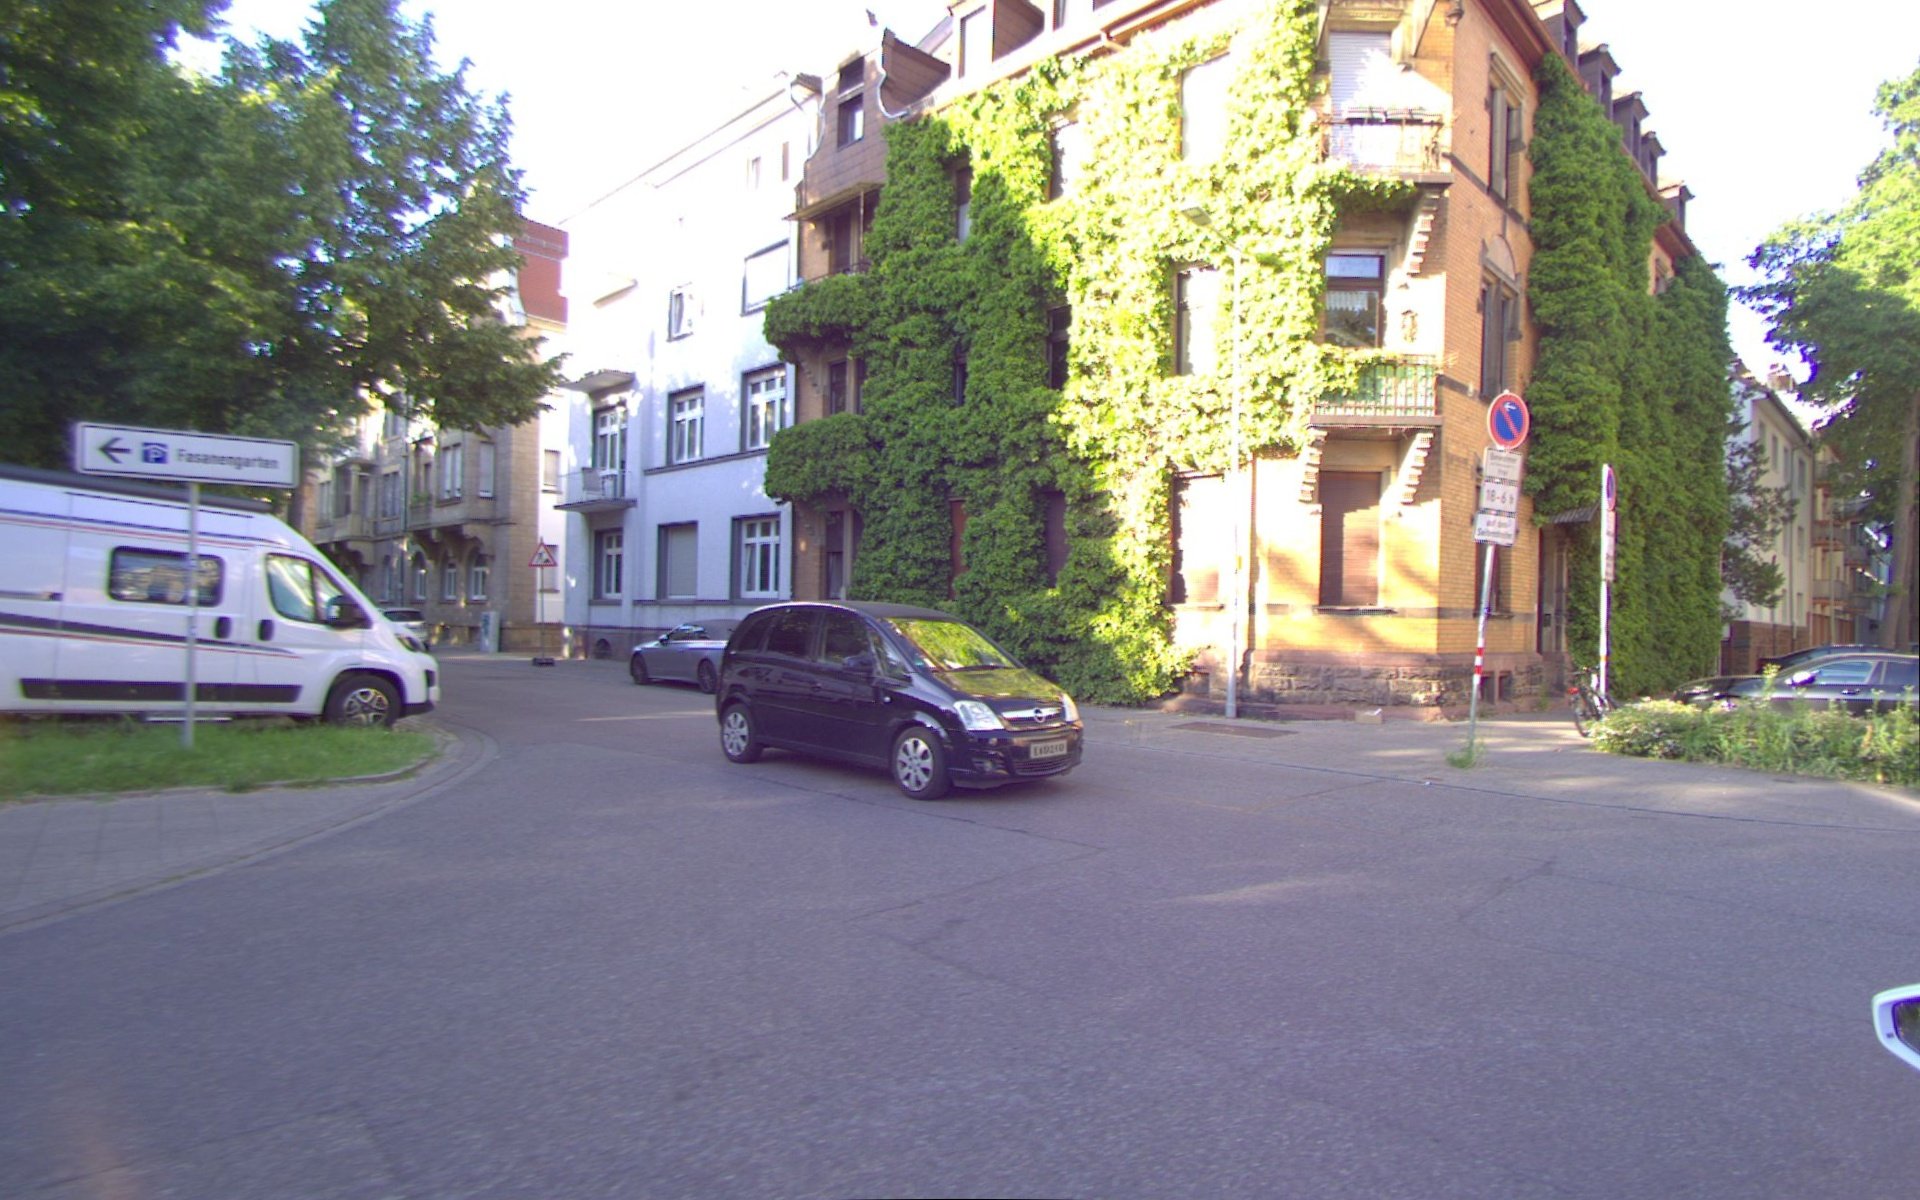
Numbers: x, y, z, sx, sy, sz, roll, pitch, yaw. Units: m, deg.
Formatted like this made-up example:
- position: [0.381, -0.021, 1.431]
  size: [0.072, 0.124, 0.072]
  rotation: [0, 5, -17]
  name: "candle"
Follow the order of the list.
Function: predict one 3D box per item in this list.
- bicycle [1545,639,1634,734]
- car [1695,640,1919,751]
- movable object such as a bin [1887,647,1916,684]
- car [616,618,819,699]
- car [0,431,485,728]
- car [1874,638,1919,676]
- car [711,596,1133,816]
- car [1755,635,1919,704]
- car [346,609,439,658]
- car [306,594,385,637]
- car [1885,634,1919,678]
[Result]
- position: [9.113, 1.218, 14.519]
  size: [1.588, 1.285, 0.559]
  rotation: [2, -1, -37]
  name: "bicycle"
- position: [13.993, 1.440, 15.349]
  size: [1.987, 1.454, 4.200]
  rotation: [2, 0, -45]
  name: "car"
- position: [30.067, 2.079, 32.087]
  size: [0.626, 1.141, 0.484]
  rotation: [2, 0, 41]
  name: "movable object such as a bin"
- position: [-5.227, 1.138, 21.249]
  size: [4.857, 1.423, 1.872]
  rotation: [0, 0, 44]
  name: "car"
- position: [-8.423, -0.166, 10.732]
  size: [2.207, 2.649, 5.600]
  rotation: [2, 0, 43]
  name: "car"
- position: [43.058, 2.579, 44.483]
  size: [3.762, 1.596, 1.699]
  rotation: [2, 0, 45]
  name: "car"
- position: [-0.514, 0.780, 9.329]
  size: [3.964, 1.611, 1.640]
  rotation: [0, 0, 43]
  name: "car"
- position: [22.402, 1.694, 24.314]
  size: [1.699, 1.454, 4.785]
  rotation: [2, 0, -45]
  name: "car"
- position: [-20.371, 1.179, 35.997]
  size: [3.740, 1.567, 1.858]
  rotation: [2, 0, 44]
  name: "car"
- position: [-26.008, 0.642, 42.453]
  size: [1.987, 1.647, 4.089]
  rotation: [2, 0, -44]
  name: "car"
- position: [36.784, 2.145, 37.113]
  size: [3.760, 1.596, 1.700]
  rotation: [2, 0, 43]
  name: "car"
